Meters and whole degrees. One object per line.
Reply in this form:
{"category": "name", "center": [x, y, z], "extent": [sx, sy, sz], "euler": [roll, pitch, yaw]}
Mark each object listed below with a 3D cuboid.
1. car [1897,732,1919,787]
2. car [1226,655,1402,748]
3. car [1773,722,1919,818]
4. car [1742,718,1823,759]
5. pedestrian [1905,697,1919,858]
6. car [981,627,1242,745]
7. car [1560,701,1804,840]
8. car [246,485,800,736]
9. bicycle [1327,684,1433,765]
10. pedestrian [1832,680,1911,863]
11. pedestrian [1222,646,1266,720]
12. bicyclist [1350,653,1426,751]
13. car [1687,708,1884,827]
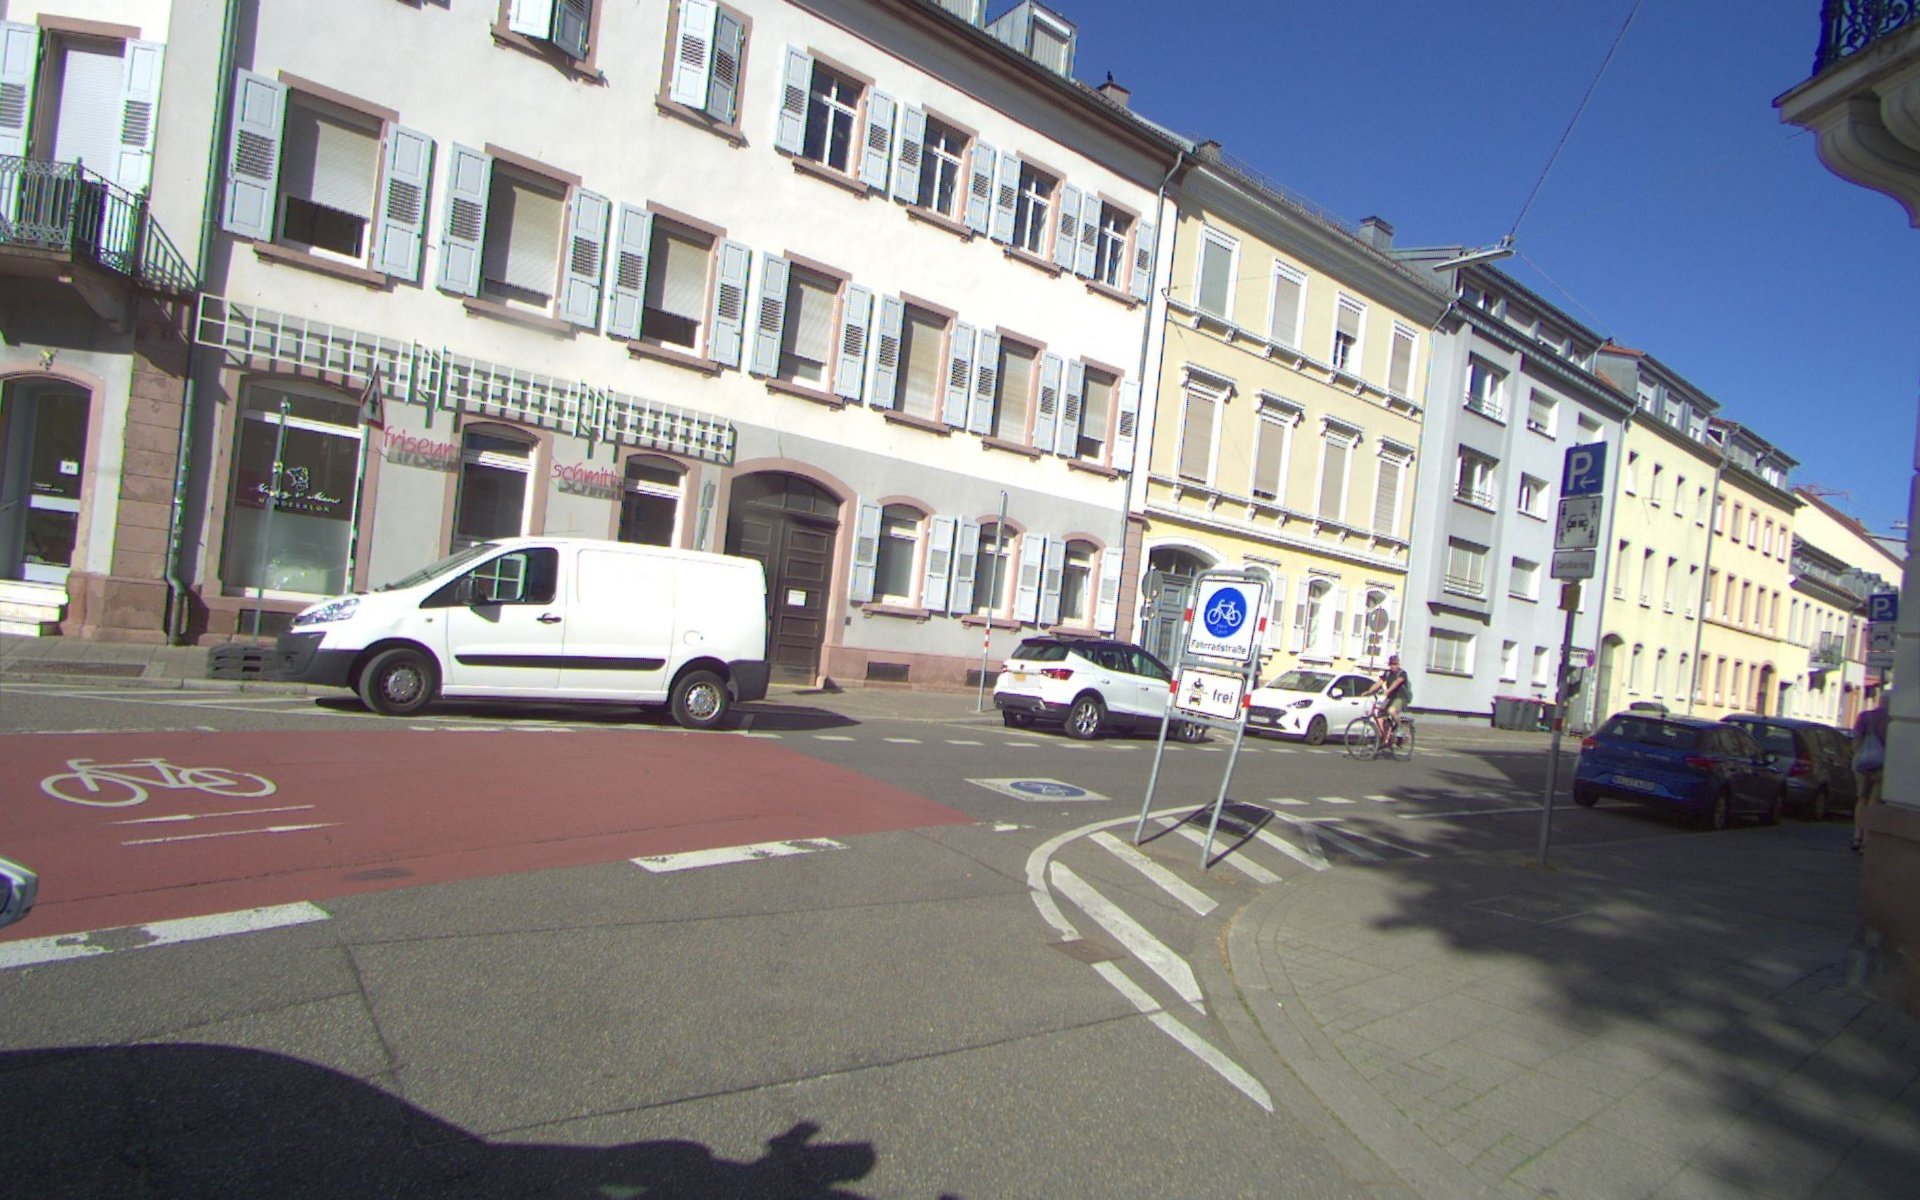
{"category": "car", "center": [28.287, 4.644, 28.601], "extent": [3.607, 1.452, 1.689], "euler": [6, 2, -37]}
{"category": "car", "center": [7.299, 2.102, 20.617], "extent": [3.609, 1.559, 1.616], "euler": [8, -3, -37]}
{"category": "car", "center": [17.911, 3.343, 20.069], "extent": [3.607, 1.452, 1.689], "euler": [6, 2, -37]}
{"category": "car", "center": [33.715, 5.684, 41.221], "extent": [3.608, 1.315, 1.690], "euler": [8, -1, -37]}
{"category": "pedestrian", "center": [10.499, 1.856, 10.484], "extent": [0.820, 1.784, 0.749], "euler": [5, -3, 44]}
{"category": "car", "center": [2.597, 1.462, 16.679], "extent": [4.346, 1.559, 1.630], "euler": [8, -3, -37]}
{"category": "car", "center": [10.316, 2.357, 14.309], "extent": [3.607, 1.452, 1.689], "euler": [6, 2, -37]}
{"category": "car", "center": [-4.500, 0.241, 10.784], "extent": [4.981, 1.969, 2.031], "euler": [8, -2, -36]}
{"category": "bicycle", "center": [7.219, 2.146, 17.255], "extent": [1.908, 1.214, 0.666], "euler": [7, -1, -35]}
{"category": "pedestrian", "center": [9.957, 1.845, 10.991], "extent": [0.564, 1.878, 0.703], "euler": [3, -3, 43]}
{"category": "pedestrian", "center": [6.609, 1.937, 23.434], "extent": [0.634, 1.620, 0.578], "euler": [6, 0, -38]}
{"category": "bicyclist", "center": [7.377, 1.761, 17.330], "extent": [1.016, 1.565, 0.632], "euler": [7, -1, -36]}
{"category": "car", "center": [14.255, 2.830, 17.332], "extent": [3.607, 1.557, 1.689], "euler": [6, 2, -37]}
